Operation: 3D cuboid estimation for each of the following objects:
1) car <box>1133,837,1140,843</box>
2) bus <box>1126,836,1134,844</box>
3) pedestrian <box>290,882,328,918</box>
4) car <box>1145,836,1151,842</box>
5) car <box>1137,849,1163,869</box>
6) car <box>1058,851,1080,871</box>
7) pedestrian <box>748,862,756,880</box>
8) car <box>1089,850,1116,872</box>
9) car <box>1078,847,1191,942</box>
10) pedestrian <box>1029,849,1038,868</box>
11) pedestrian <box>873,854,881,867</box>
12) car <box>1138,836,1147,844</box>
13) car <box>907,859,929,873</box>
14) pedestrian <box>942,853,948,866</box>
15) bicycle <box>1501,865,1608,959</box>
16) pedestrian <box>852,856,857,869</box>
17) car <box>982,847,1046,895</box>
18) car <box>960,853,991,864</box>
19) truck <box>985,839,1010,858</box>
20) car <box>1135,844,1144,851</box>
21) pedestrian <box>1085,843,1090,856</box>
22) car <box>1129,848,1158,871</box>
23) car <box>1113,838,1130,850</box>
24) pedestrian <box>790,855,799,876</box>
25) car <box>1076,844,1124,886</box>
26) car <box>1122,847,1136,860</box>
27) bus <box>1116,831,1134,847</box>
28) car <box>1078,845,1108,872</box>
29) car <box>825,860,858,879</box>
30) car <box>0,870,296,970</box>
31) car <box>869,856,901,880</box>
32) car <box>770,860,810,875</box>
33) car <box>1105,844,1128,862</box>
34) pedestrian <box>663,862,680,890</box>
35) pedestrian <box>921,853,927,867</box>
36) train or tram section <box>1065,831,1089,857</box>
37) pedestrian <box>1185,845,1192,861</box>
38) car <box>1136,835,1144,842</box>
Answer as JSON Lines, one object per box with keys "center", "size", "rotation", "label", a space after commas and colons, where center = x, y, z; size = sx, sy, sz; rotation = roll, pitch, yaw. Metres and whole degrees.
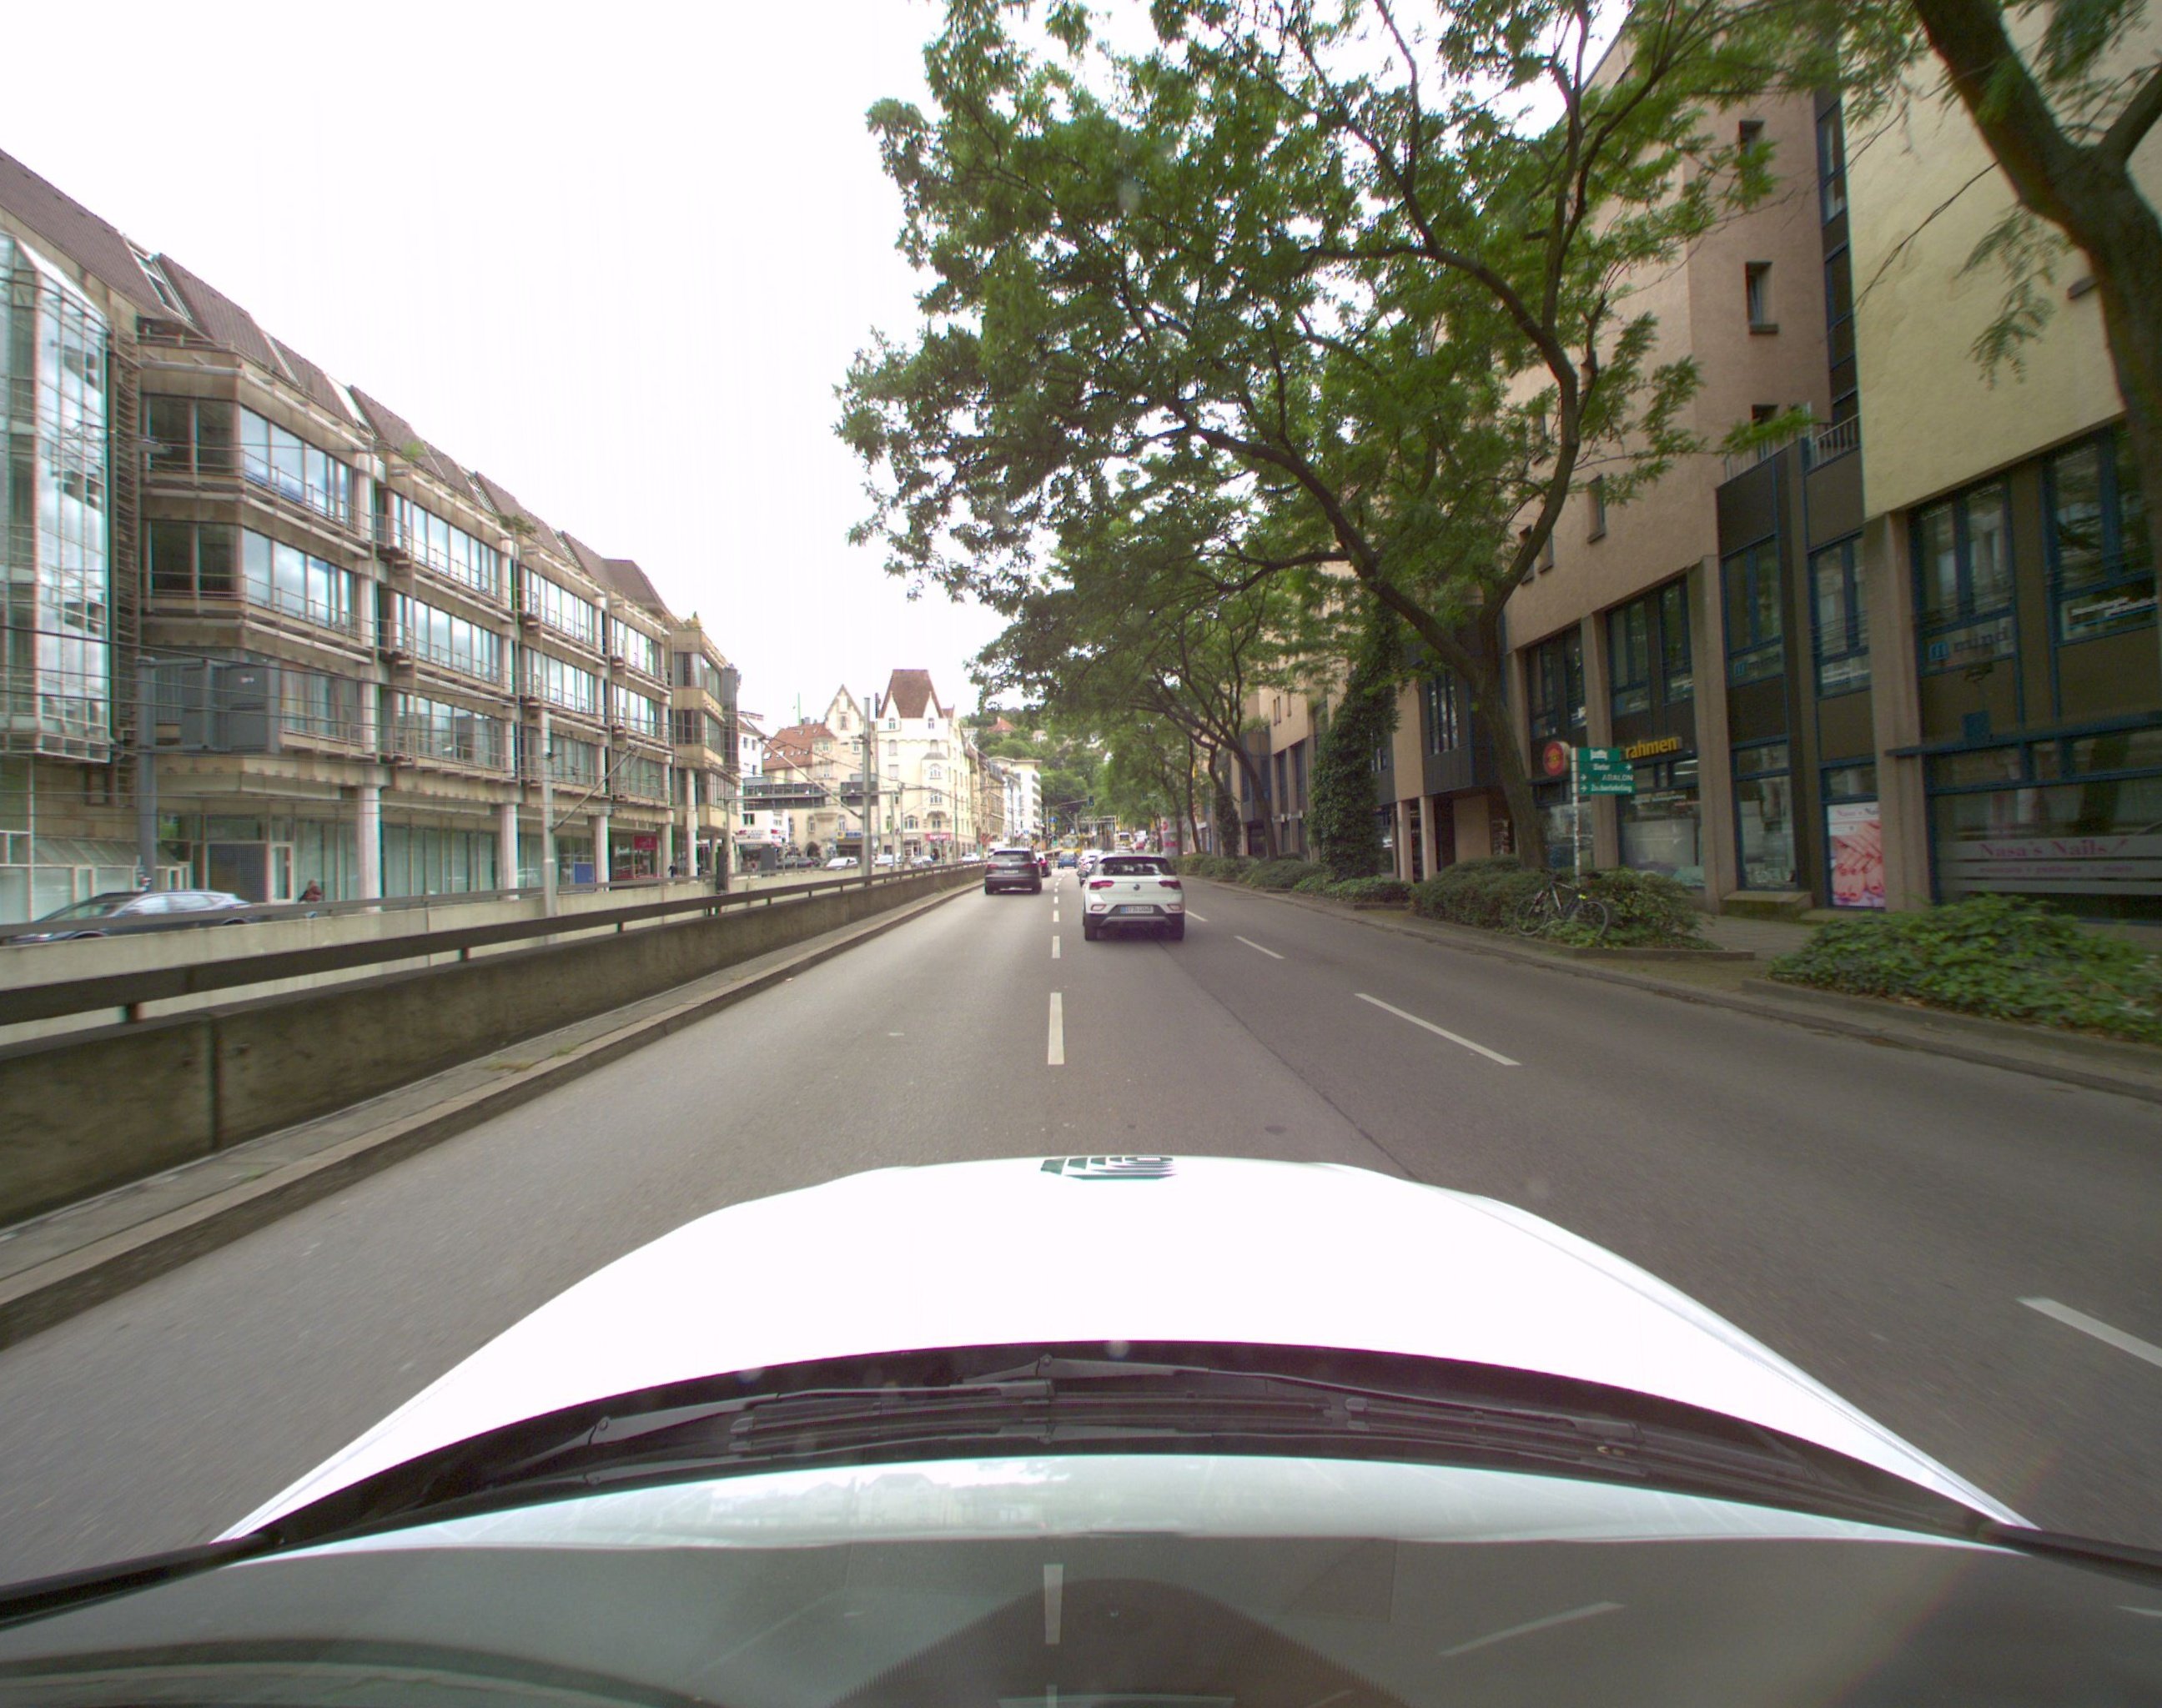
{"center": [15.359, -3.884, 225.827], "size": [1.665, 1.560, 3.683], "rotation": [-1, 0, 5], "label": "car"}
{"center": [12.518, -3.529, 208.823], "size": [1.987, 2.013, 4.000], "rotation": [-1, 0, 0], "label": "bus"}
{"center": [-28.817, 1.707, 30.405], "size": [0.728, 1.265, 0.740], "rotation": [-1, 0, -1], "label": "pedestrian"}
{"center": [19.167, -4.199, 232.765], "size": [1.665, 1.560, 3.683], "rotation": [-1, 0, 5], "label": "car"}
{"center": [7.291, 0.492, 86.345], "size": [2.357, 2.013, 5.148], "rotation": [-1, 0, 0], "label": "car"}
{"center": [-1.090, 0.561, 71.297], "size": [1.879, 1.684, 4.159], "rotation": [-1, 0, -1], "label": "car"}
{"center": [-33.961, 1.726, 84.034], "size": [0.507, 1.780, 0.578], "rotation": [-2, 0, 7], "label": "pedestrian"}
{"center": [1.999, 0.646, 76.599], "size": [2.357, 2.013, 5.148], "rotation": [-1, 0, 0], "label": "car"}
{"center": [0.894, 0.684, 15.805], "size": [1.832, 1.584, 4.154], "rotation": [-1, 0, -1], "label": "car"}
{"center": [-4.478, 0.434, 76.567], "size": [0.761, 1.721, 0.638], "rotation": [-2, 0, 4], "label": "pedestrian"}
{"center": [-27.252, 0.855, 108.617], "size": [0.777, 1.705, 0.655], "rotation": [-2, 0, 11], "label": "pedestrian"}
{"center": [15.966, -3.526, 211.156], "size": [1.986, 2.013, 4.002], "rotation": [-1, 0, 2], "label": "car"}
{"center": [-19.084, 1.428, 95.719], "size": [1.658, 1.501, 4.043], "rotation": [-2, 0, 1], "label": "car"}
{"center": [-18.364, 0.764, 110.030], "size": [0.505, 1.780, 0.580], "rotation": [-2, 0, 19], "label": "pedestrian"}
{"center": [6.660, 0.775, 11.544], "size": [0.361, 1.201, 1.565], "rotation": [-2, 0, -9], "label": "bicycle"}
{"center": [-31.393, 1.147, 113.078], "size": [0.575, 1.780, 0.510], "rotation": [-2, 0, -9], "label": "pedestrian"}
{"center": [-2.403, 0.600, 30.194], "size": [1.987, 1.636, 4.000], "rotation": [-1, 0, 0], "label": "car"}
{"center": [-14.526, 0.622, 112.389], "size": [1.732, 1.560, 4.542], "rotation": [-1, 0, 30], "label": "car"}
{"center": [-13.636, -0.902, 133.496], "size": [2.254, 3.076, 7.389], "rotation": [-1, 0, 7], "label": "truck"}
{"center": [11.500, -1.252, 160.475], "size": [1.574, 1.172, 3.683], "rotation": [-1, 0, 5], "label": "car"}
{"center": [0.933, -0.646, 115.629], "size": [0.682, 1.711, 0.713], "rotation": [-2, 1, 5], "label": "pedestrian"}
{"center": [5.783, 0.501, 76.090], "size": [2.357, 2.013, 5.148], "rotation": [-1, 0, 0], "label": "car"}
{"center": [6.823, -1.697, 137.505], "size": [2.351, 2.013, 5.160], "rotation": [-1, 0, 8], "label": "car"}
{"center": [-24.904, 1.005, 70.730], "size": [0.507, 1.780, 0.578], "rotation": [-2, 0, 7], "label": "pedestrian"}
{"center": [0.781, 0.456, 35.436], "size": [1.879, 1.684, 4.159], "rotation": [-1, 0, -1], "label": "car"}
{"center": [6.817, -0.074, 115.695], "size": [1.875, 1.684, 4.167], "rotation": [-1, 0, 5], "label": "car"}
{"center": [9.554, -3.077, 174.102], "size": [3.356, 3.064, 13.343], "rotation": [-1, 0, 5], "label": "bus"}
{"center": [0.772, 0.303, 54.735], "size": [1.879, 1.684, 4.159], "rotation": [-1, 0, -1], "label": "car"}
{"center": [-21.709, 1.394, 73.955], "size": [1.658, 1.501, 4.413], "rotation": [-2, 0, 1], "label": "car"}
{"center": [-20.362, 1.315, 17.906], "size": [1.988, 1.914, 4.376], "rotation": [-1, -1, -1], "label": "car"}
{"center": [-16.427, 1.142, 68.501], "size": [1.830, 1.842, 4.599], "rotation": [2, 0, -4], "label": "car"}
{"center": [-31.903, 1.486, 89.426], "size": [4.044, 1.501, 1.658], "rotation": [-2, 0, -20], "label": "car"}
{"center": [3.980, -0.095, 91.832], "size": [2.357, 2.013, 5.148], "rotation": [-1, 0, 0], "label": "car"}
{"center": [-26.418, 1.404, 52.576], "size": [0.728, 1.811, 0.740], "rotation": [-1, 0, -1], "label": "pedestrian"}
{"center": [-20.905, 0.807, 108.533], "size": [0.571, 1.780, 0.513], "rotation": [-2, 0, 10], "label": "pedestrian"}
{"center": [-0.505, -1.524, 119.238], "size": [2.821, 3.678, 5.761], "rotation": [-1, 1, 6], "label": "train or tram section"}
{"center": [13.378, -0.136, 101.235], "size": [0.833, 2.014, 0.764], "rotation": [-1, 0, 1], "label": "pedestrian"}
{"center": [14.192, -3.663, 195.928], "size": [1.665, 1.560, 3.683], "rotation": [-1, 0, 5], "label": "car"}
